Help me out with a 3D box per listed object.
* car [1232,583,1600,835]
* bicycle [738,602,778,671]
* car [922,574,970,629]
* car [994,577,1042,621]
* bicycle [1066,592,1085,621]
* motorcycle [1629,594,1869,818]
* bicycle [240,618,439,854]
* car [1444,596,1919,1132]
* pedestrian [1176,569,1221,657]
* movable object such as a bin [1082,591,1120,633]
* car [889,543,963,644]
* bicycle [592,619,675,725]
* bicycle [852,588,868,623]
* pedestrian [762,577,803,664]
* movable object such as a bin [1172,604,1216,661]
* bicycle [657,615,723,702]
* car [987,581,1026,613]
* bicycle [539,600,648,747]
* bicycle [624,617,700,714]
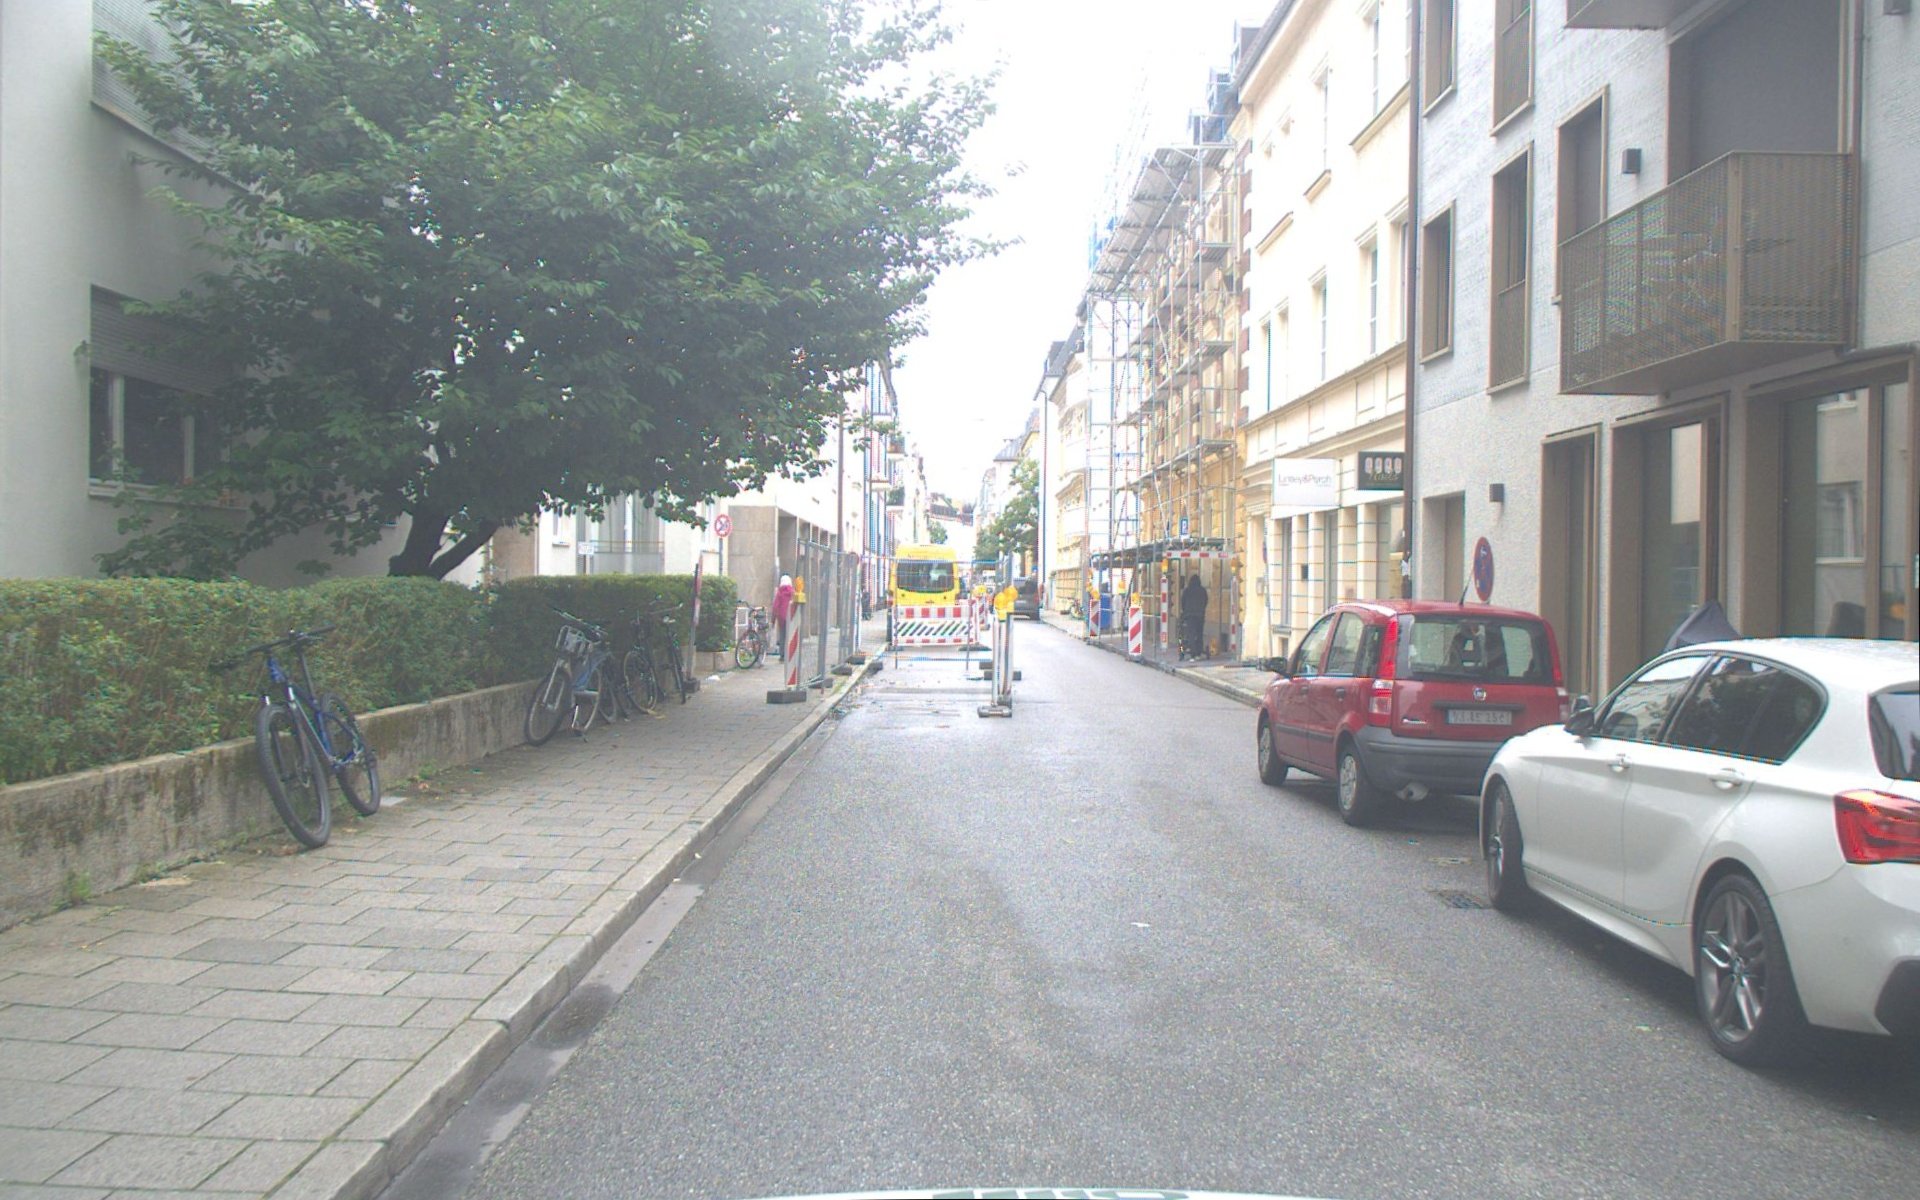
[{"bbox_3d":[3.274,0.689,12.710,1.735,1.550,4.067,2,0,1],"label":"car"},{"bbox_3d":[-3.442,0.604,28.213,0.369,1.081,1.597,6,0,0],"label":"bicycle"},{"bbox_3d":[-0.537,0.025,61.840,1.692,1.930,5.508,-1,0,-1],"label":"car"},{"bbox_3d":[2.726,-0.094,78.766,1.953,1.965,4.659,2,1,-1],"label":"car"},{"bbox_3d":[5.014,0.287,71.935,0.625,1.173,1.915,-2,1,0],"label":"bicycle"},{"bbox_3d":[5.581,0.693,11.848,0.788,1.448,1.932,-1,0,0],"label":"motorcycle"},{"bbox_3d":[-3.293,0.670,8.923,0.339,1.090,1.780,4,0,0],"label":"bicycle"},{"bbox_3d":[3.516,0.778,6.862,1.732,1.486,4.381,2,0,1],"label":"car"},{"bbox_3d":[5.032,0.266,34.943,0.715,1.783,0.988,-3,0,-1],"label":"pedestrian"},{"bbox_3d":[4.817,0.394,56.417,1.063,1.369,1.319,-2,0,12],"label":"movable object such as a bin"},{"bbox_3d":[-0.961,-0.200,46.735,1.953,2.624,6.735,0,0,-1],"label":"car"},{"bbox_3d":[-3.303,0.703,16.846,0.427,0.995,1.699,4,-1,1],"label":"bicycle"},{"bbox_3d":[-3.736,0.200,61.606,0.374,1.209,2.132,2,1,-8],"label":"bicycle"},{"bbox_3d":[-3.221,0.369,30.095,0.625,1.558,0.747,-1,0,1],"label":"pedestrian"},{"bbox_3d":[5.031,0.697,35.658,0.715,1.160,0.988,-4,0,-2],"label":"movable object such as a bin"},{"bbox_3d":[-3.288,0.694,20.274,0.434,0.995,1.816,4,-1,1],"label":"bicycle"},{"bbox_3d":[2.492,-0.166,88.709,1.855,1.670,4.321,0,1,-1],"label":"car"},{"bbox_3d":[-3.160,0.612,14.383,0.478,1.171,1.699,4,-1,1],"label":"bicycle"},{"bbox_3d":[-3.296,0.697,18.408,0.434,0.995,1.853,4,-1,1],"label":"bicycle"}]
